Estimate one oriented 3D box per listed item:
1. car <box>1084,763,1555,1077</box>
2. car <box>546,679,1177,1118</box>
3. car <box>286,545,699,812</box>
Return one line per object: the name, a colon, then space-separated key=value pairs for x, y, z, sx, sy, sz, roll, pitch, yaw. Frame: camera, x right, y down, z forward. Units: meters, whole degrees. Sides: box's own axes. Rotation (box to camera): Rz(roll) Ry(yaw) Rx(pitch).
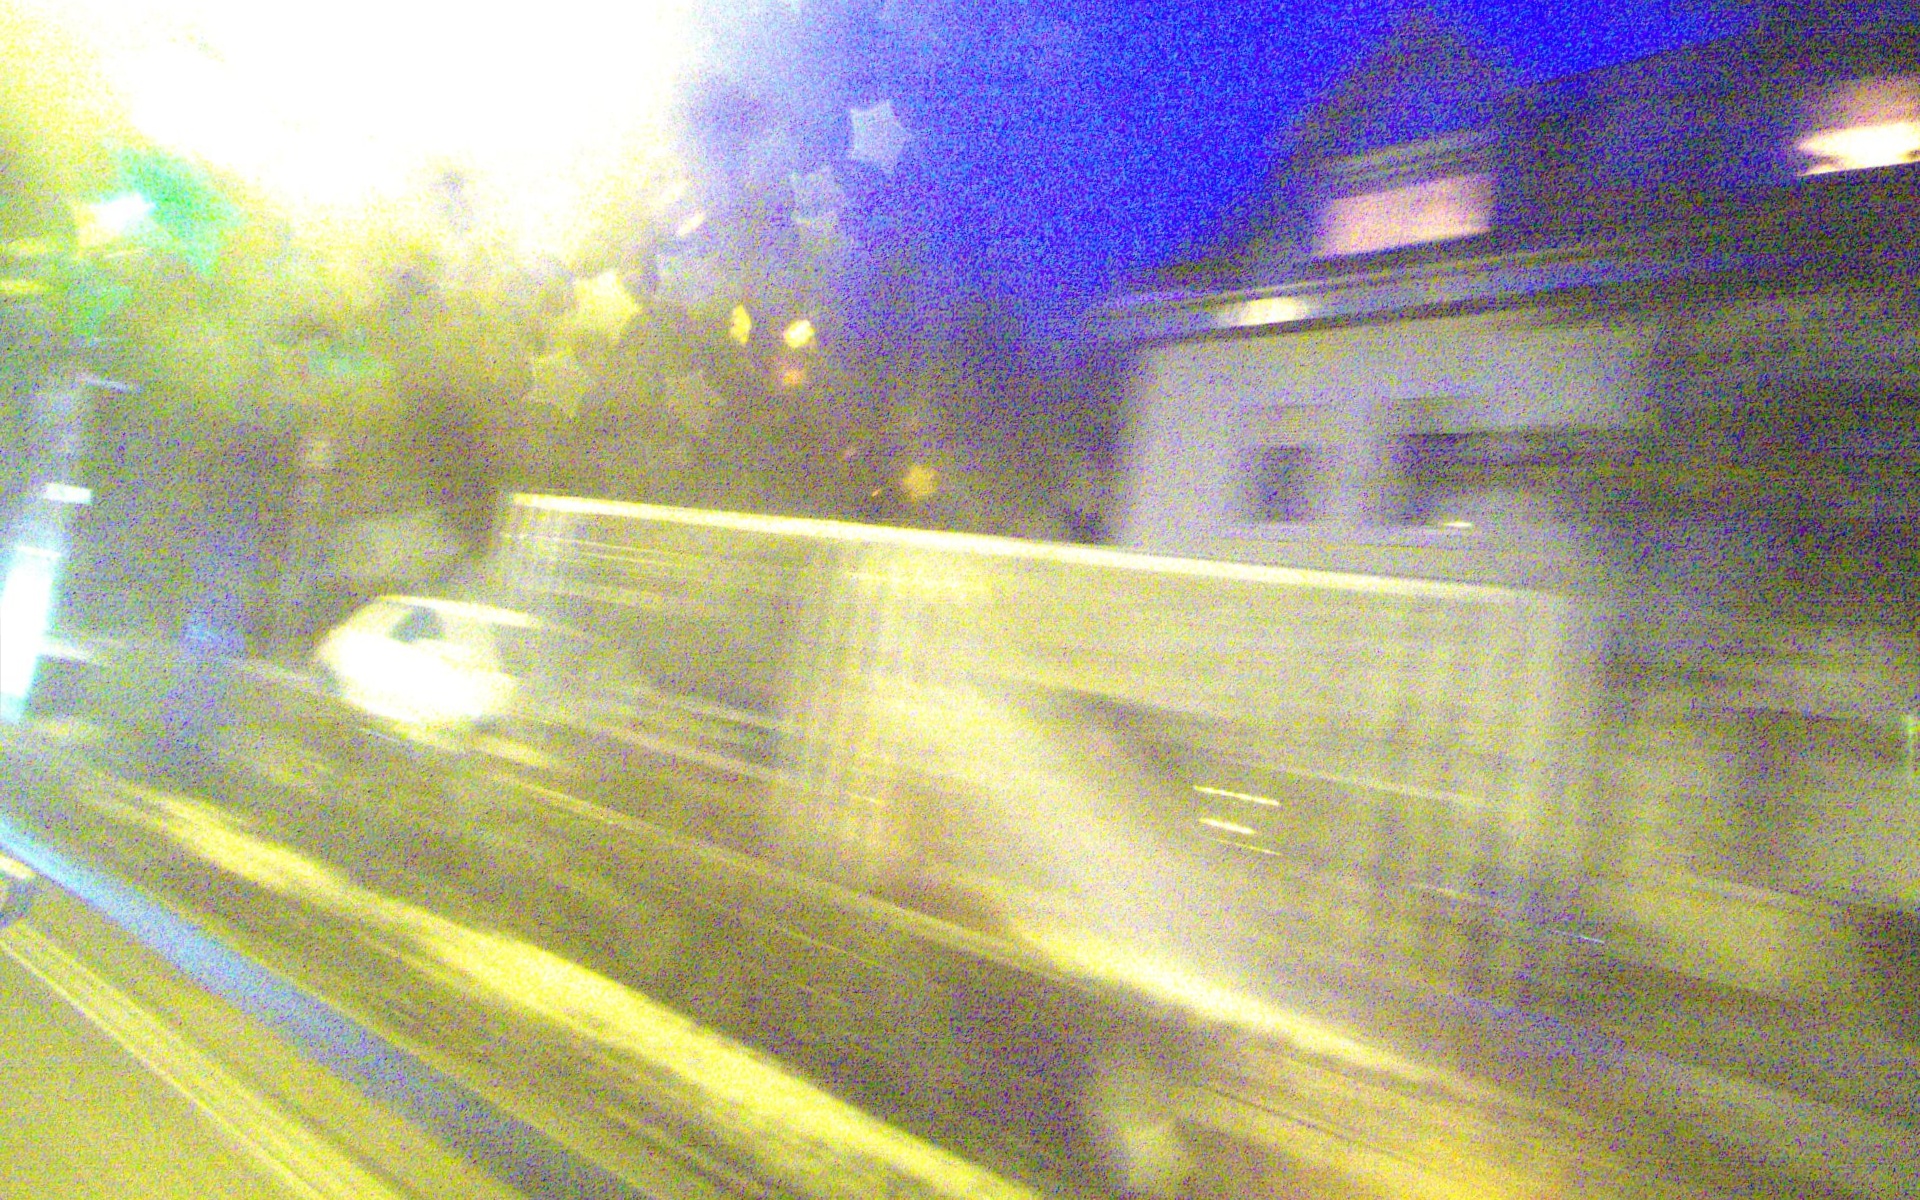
car: x=3.189 y=2.677 z=9.299 sx=3.622 sy=1.529 sz=1.633 roll=8 pitch=1 yaw=40
car: x=-0.757 y=1.497 z=6.204 sx=3.621 sy=1.414 sz=1.636 roll=7 pitch=-2 yaw=38
car: x=-4.250 y=0.586 z=8.915 sx=3.744 sy=1.585 sz=1.675 roll=9 pitch=0 yaw=38
